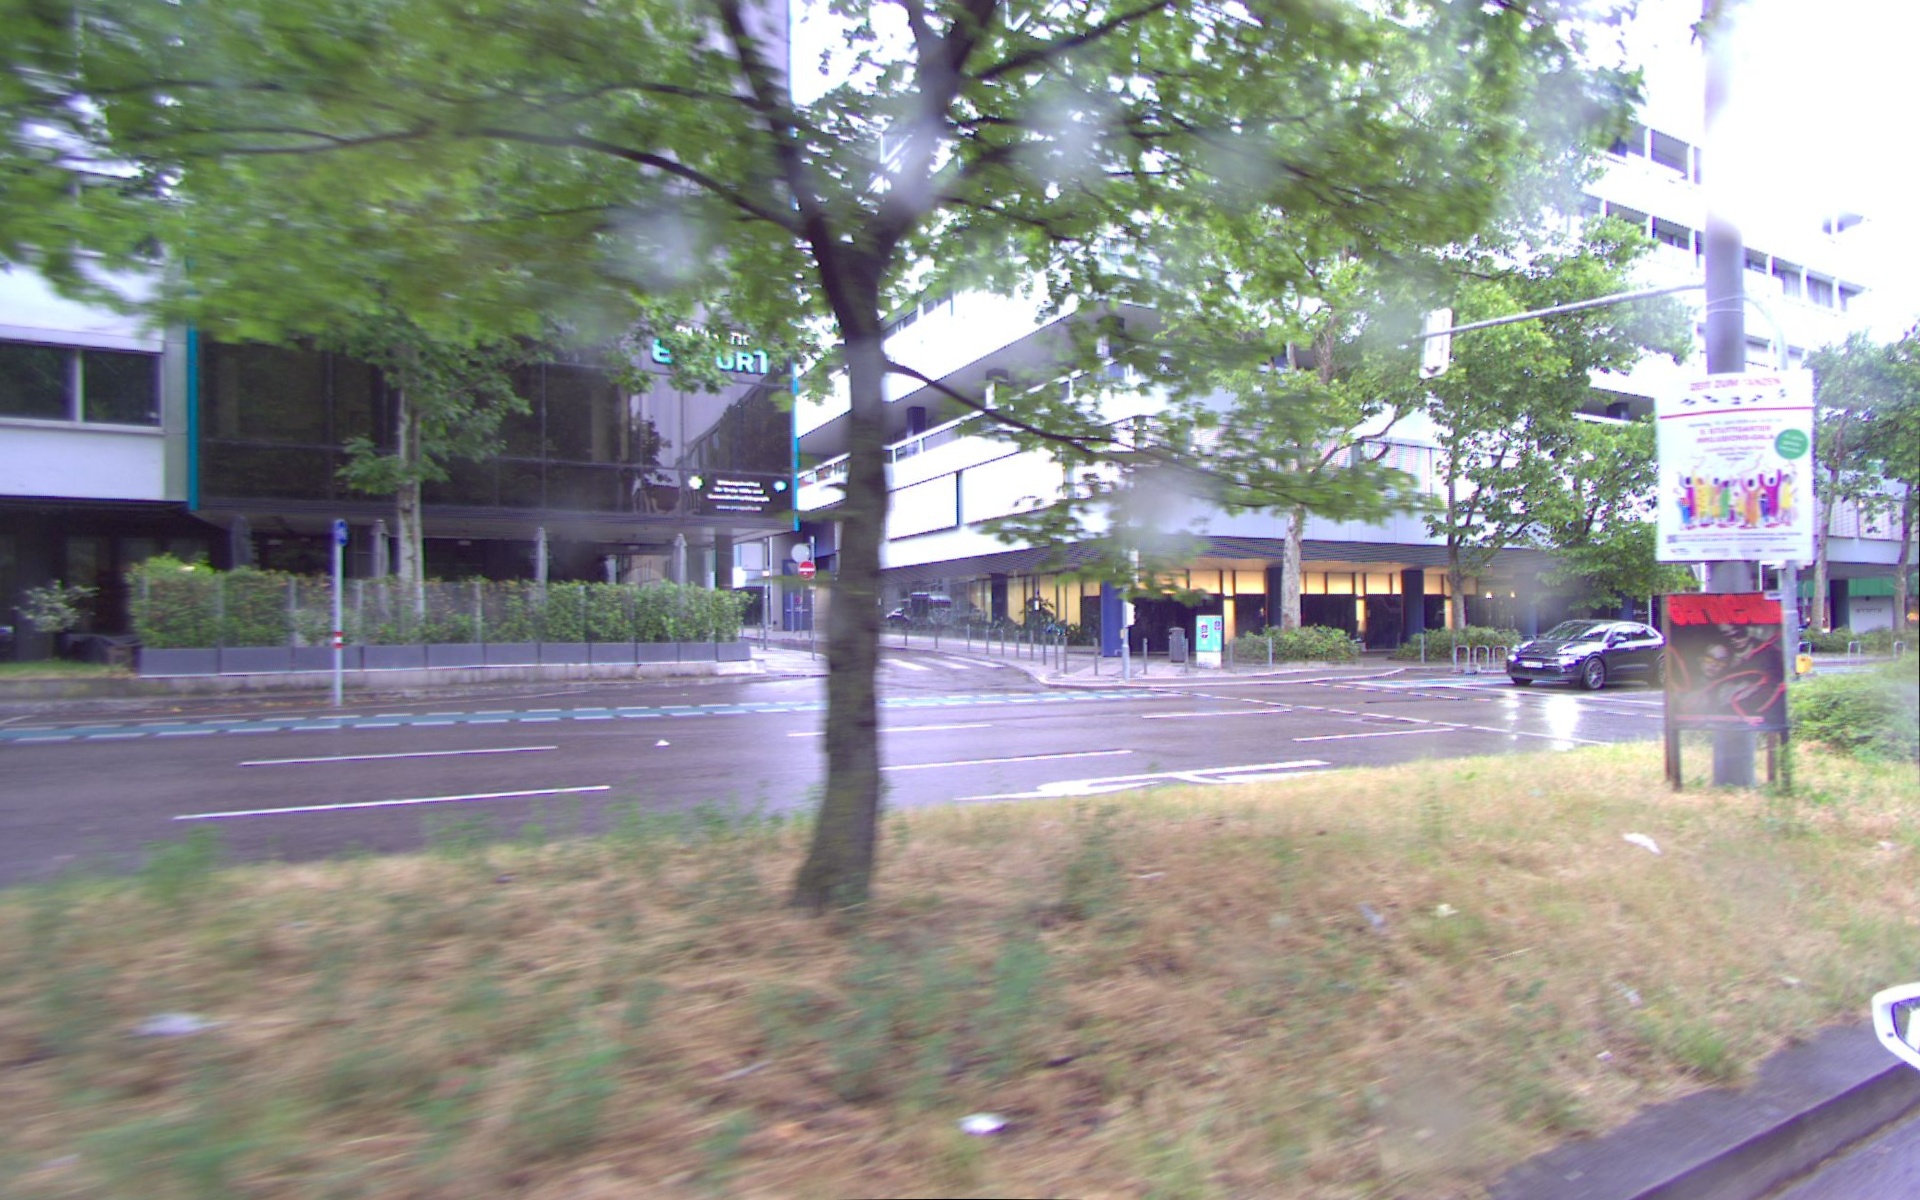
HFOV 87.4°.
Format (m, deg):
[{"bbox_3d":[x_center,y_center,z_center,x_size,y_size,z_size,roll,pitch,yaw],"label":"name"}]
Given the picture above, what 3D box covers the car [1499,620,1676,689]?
[{"bbox_3d":[15.402,1.287,24.632,4.134,1.572,1.824,1,-1,-27],"label":"car"}]
